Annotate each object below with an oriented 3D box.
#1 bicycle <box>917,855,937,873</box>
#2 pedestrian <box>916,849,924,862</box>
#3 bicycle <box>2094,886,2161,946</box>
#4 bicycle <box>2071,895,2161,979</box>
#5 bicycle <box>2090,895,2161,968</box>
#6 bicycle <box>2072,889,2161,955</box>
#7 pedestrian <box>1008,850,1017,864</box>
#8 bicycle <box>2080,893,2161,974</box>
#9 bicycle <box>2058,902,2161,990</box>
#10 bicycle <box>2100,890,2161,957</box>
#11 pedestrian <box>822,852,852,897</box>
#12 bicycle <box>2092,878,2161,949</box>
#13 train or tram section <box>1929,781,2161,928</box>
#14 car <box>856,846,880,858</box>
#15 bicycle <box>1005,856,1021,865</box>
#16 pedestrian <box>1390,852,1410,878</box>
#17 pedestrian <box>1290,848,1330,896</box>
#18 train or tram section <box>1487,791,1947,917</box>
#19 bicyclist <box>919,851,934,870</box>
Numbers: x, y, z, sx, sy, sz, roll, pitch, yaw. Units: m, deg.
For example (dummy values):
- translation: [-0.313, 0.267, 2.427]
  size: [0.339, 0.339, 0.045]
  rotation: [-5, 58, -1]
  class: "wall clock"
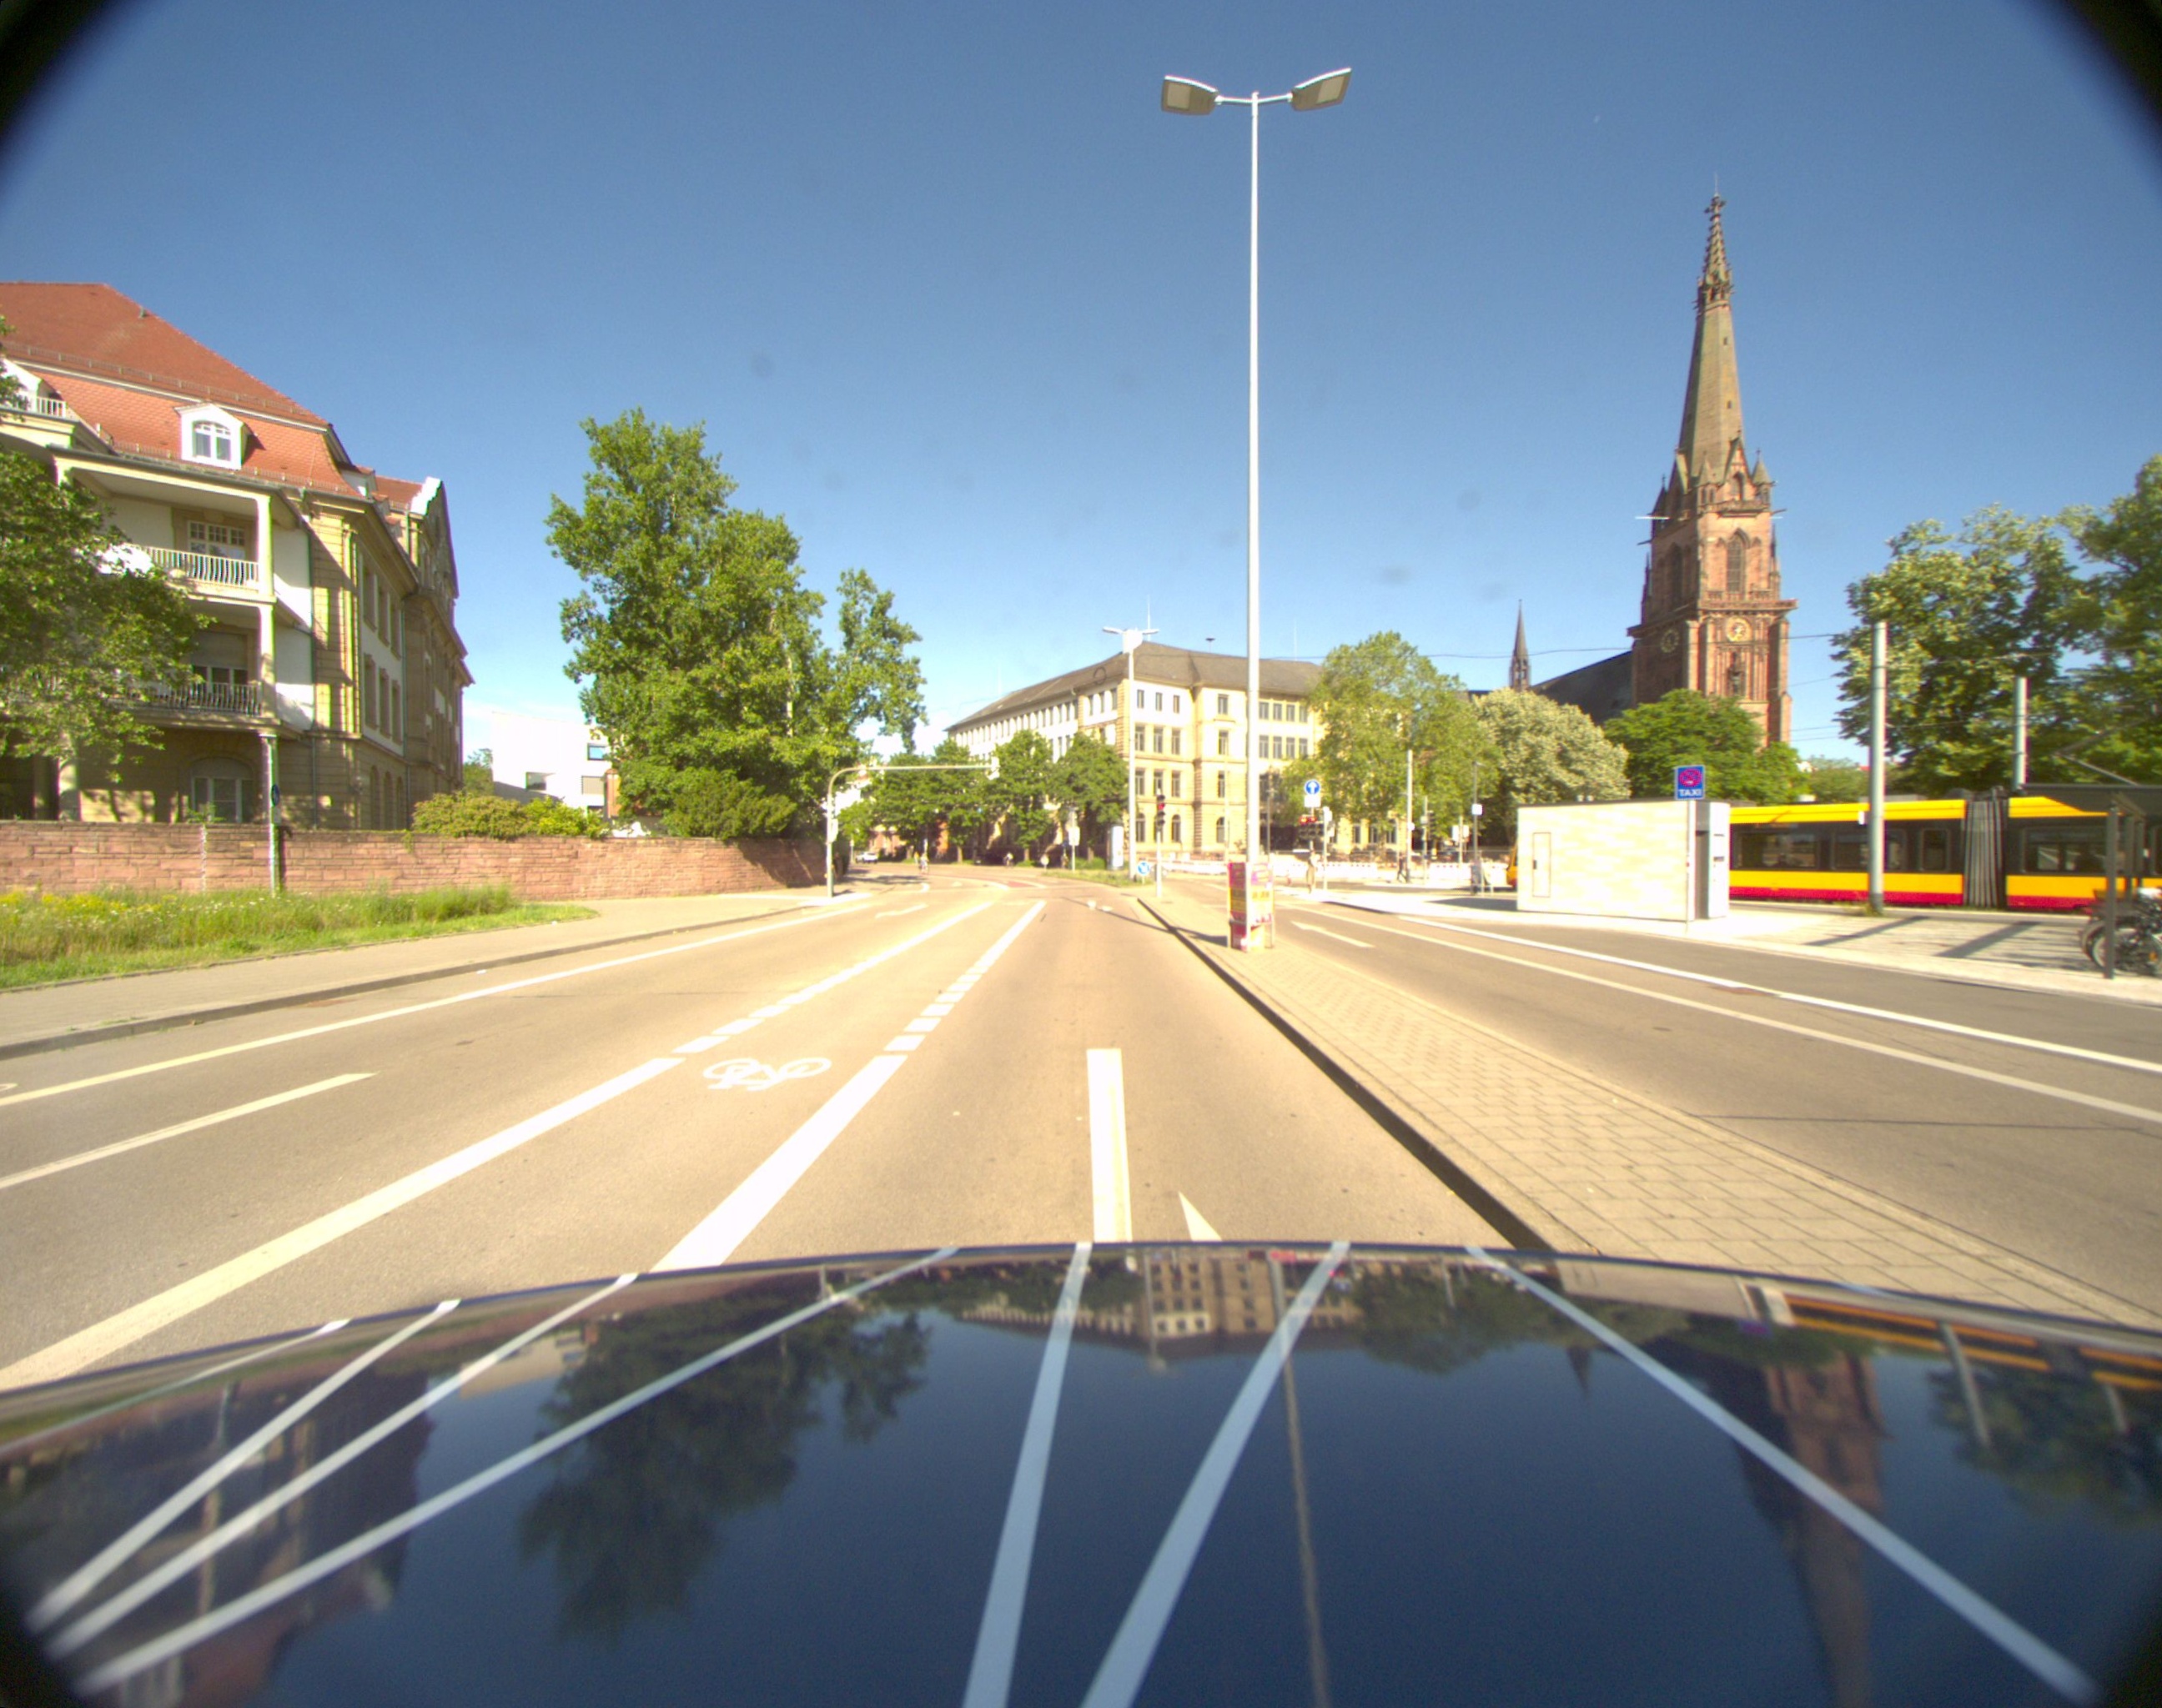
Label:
- translation: [-12.344, 0.777, 60.798]
  size: [0.763, 1.360, 2.731]
  rotation: [-1, 1, -28]
  class: "bicycle"
- translation: [-21.580, 0.173, 101.849]
  size: [0.759, 1.802, 0.977]
  rotation: [-1, 1, -40]
  class: "pedestrian"
- translation: [19.524, 1.120, 13.459]
  size: [0.630, 1.002, 1.826]
  rotation: [-1, 1, -32]
  class: "bicycle"
- translation: [14.670, 1.127, 10.064]
  size: [0.630, 1.059, 1.826]
  rotation: [-1, 1, -32]
  class: "bicycle"
- translation: [16.177, 1.158, 11.002]
  size: [0.630, 1.002, 1.826]
  rotation: [-1, 1, -32]
  class: "bicycle"
- translation: [17.811, 1.133, 12.463]
  size: [0.630, 1.002, 1.826]
  rotation: [-1, 1, -32]
  class: "bicycle"
- translation: [-7.132, 0.344, 79.275]
  size: [0.597, 1.394, 0.644]
  rotation: [-3, 2, -38]
  class: "pedestrian"
- translation: [15.140, 1.113, 10.330]
  size: [0.574, 1.045, 1.826]
  rotation: [-1, 1, -32]
  class: "bicycle"
- translation: [13.936, 1.203, 9.596]
  size: [0.702, 1.002, 1.863]
  rotation: [-1, 2, -32]
  class: "bicycle"
- translation: [17.164, 1.096, 11.627]
  size: [0.630, 1.002, 1.826]
  rotation: [-1, 1, -32]
  class: "bicycle"
- translation: [-10.302, 0.845, 32.104]
  size: [0.960, 1.839, 0.731]
  rotation: [1, 1, 4]
  class: "pedestrian"
- translation: [18.945, 1.044, 13.051]
  size: [0.630, 1.173, 1.826]
  rotation: [-1, 1, -32]
  class: "bicycle"
- translation: [28.838, 0.014, 17.403]
  size: [2.806, 3.580, 12.294]
  rotation: [-1, 1, -35]
  class: "train or tram section"
- translation: [-28.711, -0.311, 102.260]
  size: [1.851, 1.543, 4.324]
  rotation: [1, 1, -35]
  class: "car"
- translation: [-7.135, 0.678, 79.316]
  size: [0.602, 1.000, 1.982]
  rotation: [-3, 1, -39]
  class: "bicycle"
- translation: [21.253, 0.728, 50.577]
  size: [0.807, 1.731, 0.933]
  rotation: [-1, 1, -35]
  class: "pedestrian"
- translation: [8.849, 0.682, 29.407]
  size: [1.231, 1.845, 0.826]
  rotation: [-1, 1, -21]
  class: "pedestrian"
- translation: [21.772, -0.046, 27.591]
  size: [2.806, 3.580, 12.504]
  rotation: [-1, 1, -35]
  class: "train or tram section"
- translation: [-12.384, 0.513, 60.870]
  size: [0.871, 1.551, 1.277]
  rotation: [-1, 1, -29]
  class: "bicyclist"
